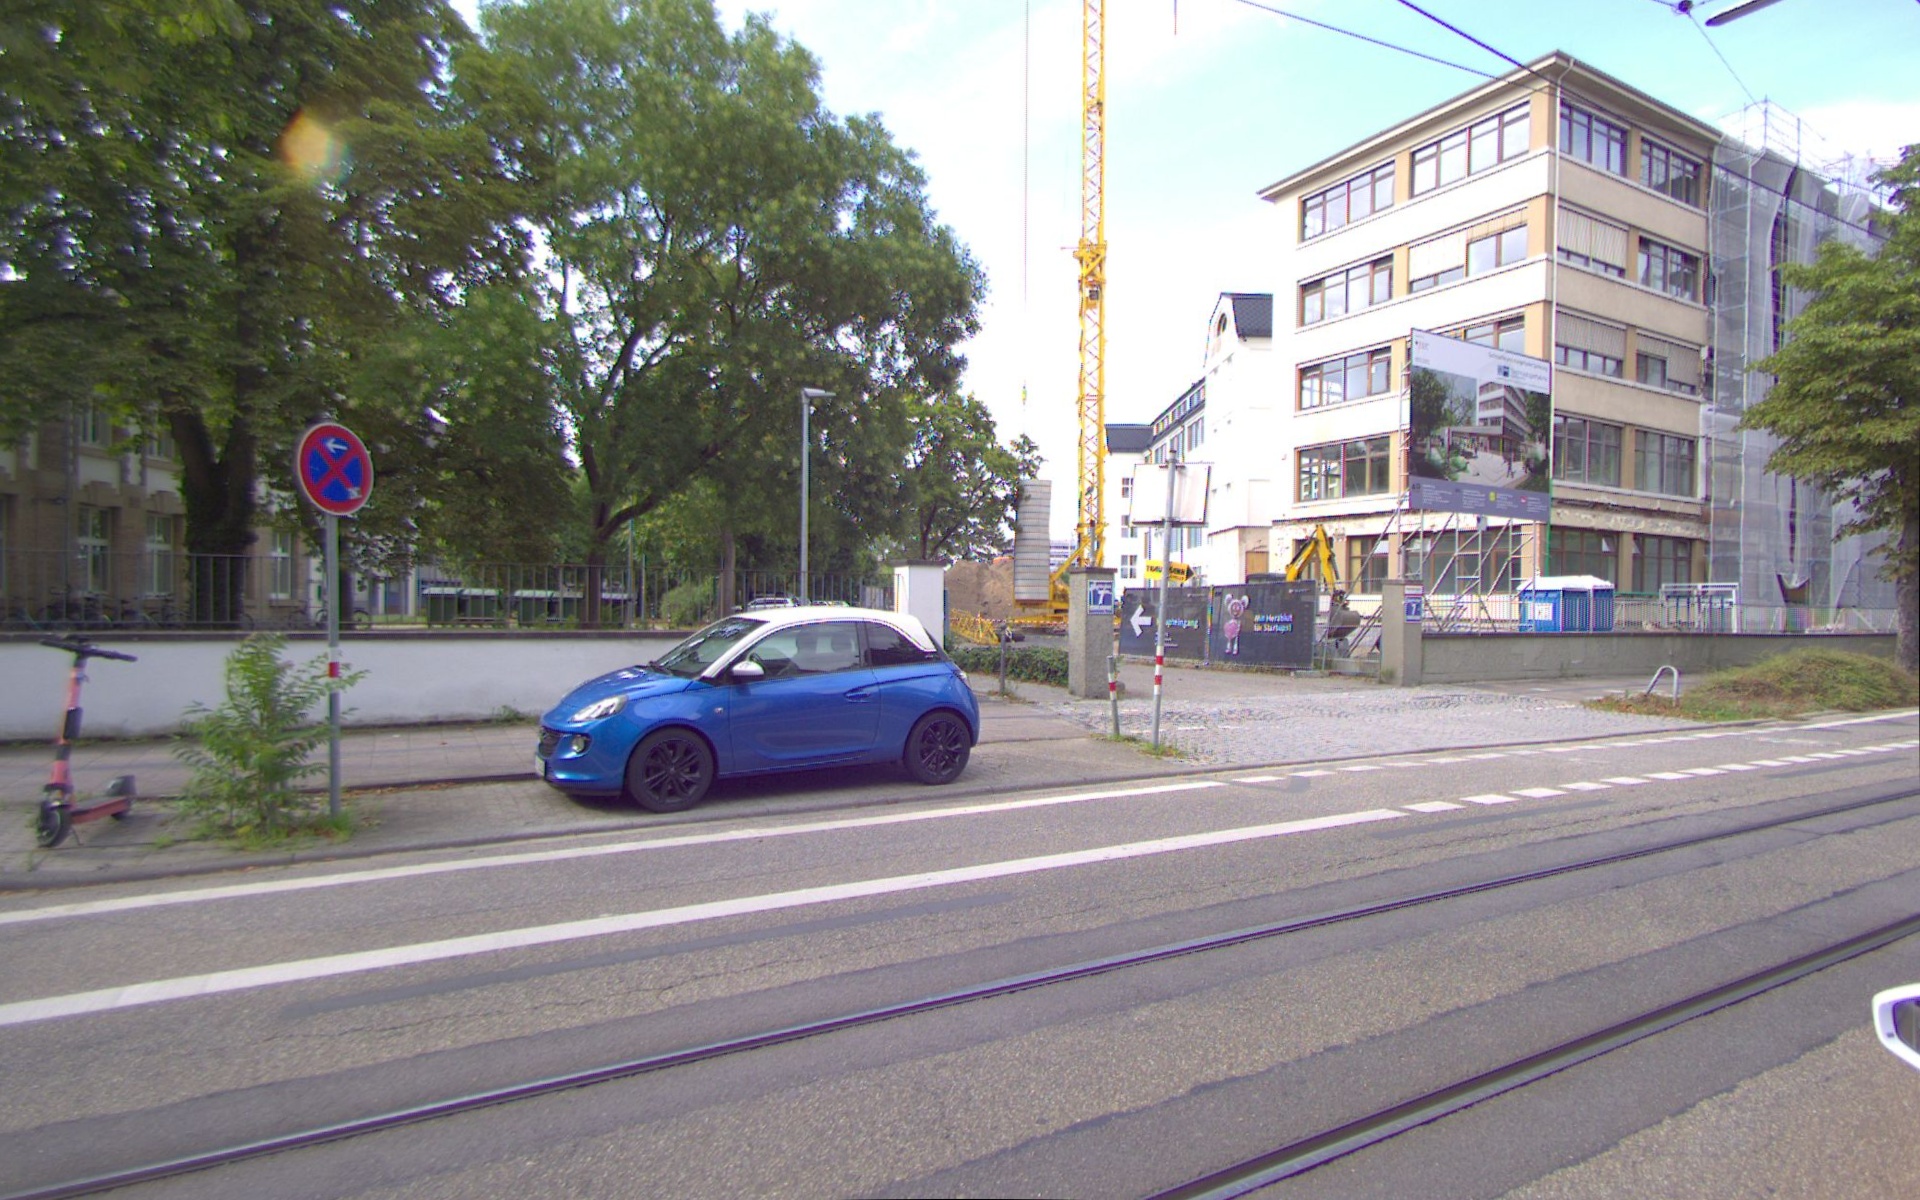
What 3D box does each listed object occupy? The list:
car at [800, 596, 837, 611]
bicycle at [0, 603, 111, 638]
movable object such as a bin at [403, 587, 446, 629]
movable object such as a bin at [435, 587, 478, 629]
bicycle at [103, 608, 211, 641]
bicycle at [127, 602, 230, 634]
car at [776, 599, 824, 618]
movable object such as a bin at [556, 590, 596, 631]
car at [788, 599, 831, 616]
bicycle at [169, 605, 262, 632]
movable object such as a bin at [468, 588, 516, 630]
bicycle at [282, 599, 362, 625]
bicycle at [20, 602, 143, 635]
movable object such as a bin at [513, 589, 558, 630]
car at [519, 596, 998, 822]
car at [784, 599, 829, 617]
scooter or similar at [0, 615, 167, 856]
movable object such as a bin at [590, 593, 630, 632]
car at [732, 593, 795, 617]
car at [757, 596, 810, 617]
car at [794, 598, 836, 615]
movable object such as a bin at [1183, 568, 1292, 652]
[{"bbox_3d":[-15.407,0.402,109.486,3.928,1.518,1.911,1,0,-10],"label":"car"},{"bbox_3d":[-19.906,0.436,21.914,2.010,0.718,0.713,1,1,-10],"label":"bicycle"},{"bbox_3d":[-18.337,0.259,34.415,1.001,1.393,0.970,1,1,-4],"label":"movable object such as a bin"},{"bbox_3d":[-17.269,0.278,34.459,1.001,1.393,0.970,1,1,-4],"label":"movable object such as a bin"},{"bbox_3d":[-20.062,0.607,25.138,2.010,0.783,0.713,1,1,-10],"label":"bicycle"},{"bbox_3d":[-20.259,0.474,26.076,2.010,0.783,0.713,1,1,-10],"label":"bicycle"},{"bbox_3d":[-13.352,0.736,83.880,3.928,1.518,1.911,1,0,-10],"label":"car"},{"bbox_3d":[-13.205,0.351,34.574,1.073,1.393,0.861,1,1,-4],"label":"movable object such as a bin"},{"bbox_3d":[-14.010,0.680,93.353,3.928,1.518,1.911,1,0,-10],"label":"car"},{"bbox_3d":[-20.592,0.505,27.822,2.028,0.718,0.707,0,1,-38],"label":"bicycle"},{"bbox_3d":[-16.047,0.300,34.471,1.181,1.393,0.970,1,1,-4],"label":"movable object such as a bin"},{"bbox_3d":[-20.341,0.382,32.054,2.010,0.783,0.713,1,1,-10],"label":"bicycle"},{"bbox_3d":[-19.964,0.421,22.868,2.010,0.718,0.713,1,1,-10],"label":"bicycle"},{"bbox_3d":[-14.627,0.324,34.611,1.181,1.393,0.861,1,1,-4],"label":"movable object such as a bin"},{"bbox_3d":[-1.660,0.762,8.507,3.634,1.507,1.684,1,1,-31],"label":"car"},{"bbox_3d":[-13.677,0.741,89.651,3.928,1.518,1.911,1,0,-10],"label":"car"},{"bbox_3d":[-5.654,0.779,6.386,0.691,1.362,1.438,0,-1,-28],"label":"scooter or similar"},{"bbox_3d":[-11.969,0.429,34.364,1.073,1.290,0.861,1,1,-4],"label":"movable object such as a bin"},{"bbox_3d":[-12.803,0.329,65.560,3.928,1.518,1.911,1,0,-10],"label":"car"},{"bbox_3d":[-13.481,0.481,76.985,3.928,1.518,1.911,1,0,-10],"label":"car"},{"bbox_3d":[-13.833,0.635,96.020,3.928,1.518,1.911,1,0,-10],"label":"car"},{"bbox_3d":[7.286,0.252,26.458,1.935,2.095,1.979,1,0,-27],"label":"movable object such as a bin"}]
